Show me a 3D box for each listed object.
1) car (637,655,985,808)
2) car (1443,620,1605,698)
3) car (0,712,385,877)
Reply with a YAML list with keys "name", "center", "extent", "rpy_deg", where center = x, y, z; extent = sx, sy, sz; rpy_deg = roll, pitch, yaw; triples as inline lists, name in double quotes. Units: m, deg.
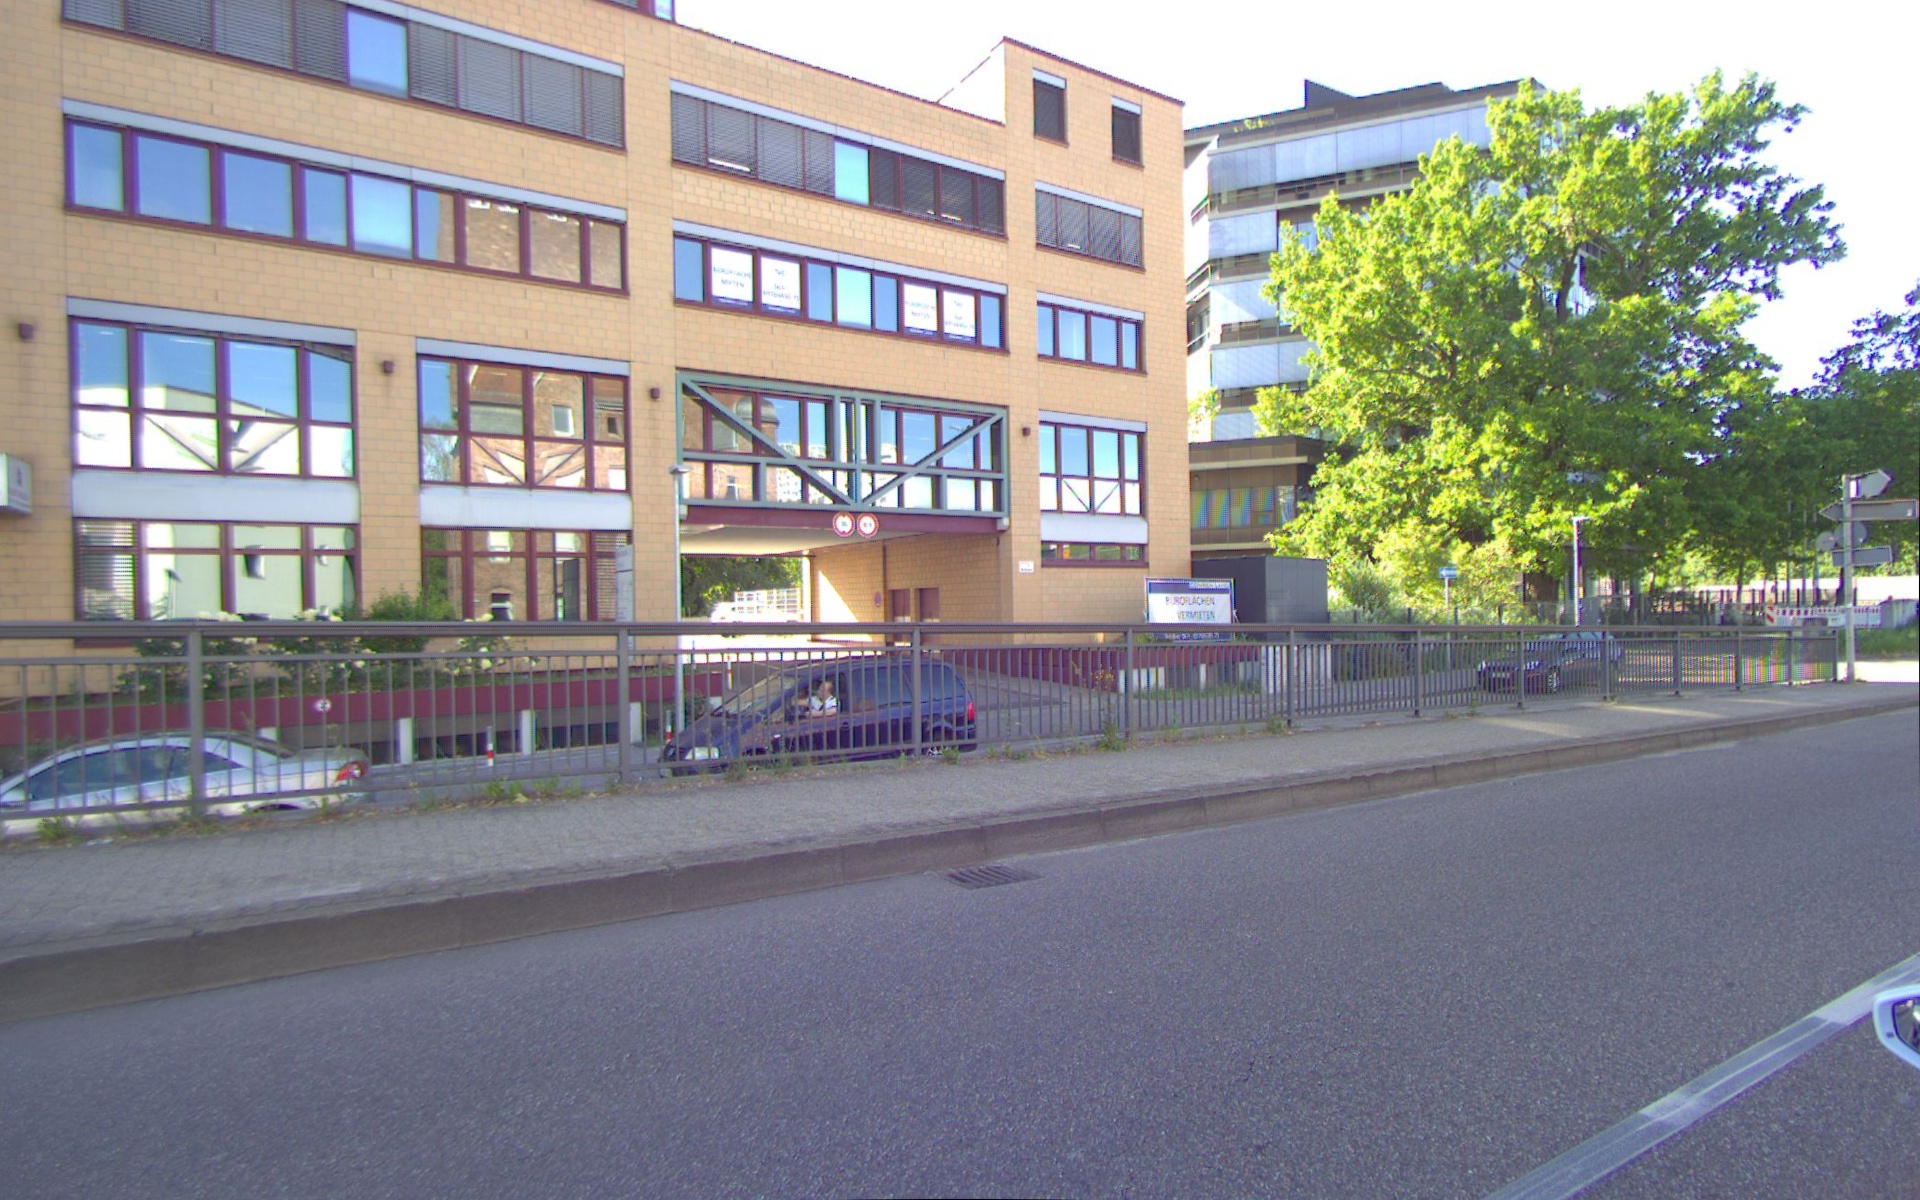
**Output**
- name: "car"
  center: [-1.973, 1.673, 14.022]
  extent: [4.542, 1.669, 1.710]
  rpy_deg: [0, -2, -36]
- name: "car"
  center: [14.200, 1.417, 25.273]
  extent: [3.954, 1.715, 1.842]
  rpy_deg: [-1, 0, -31]
- name: "car"
  center: [-8.218, 1.886, 10.070]
  extent: [4.211, 1.181, 1.712]
  rpy_deg: [0, -2, -33]
